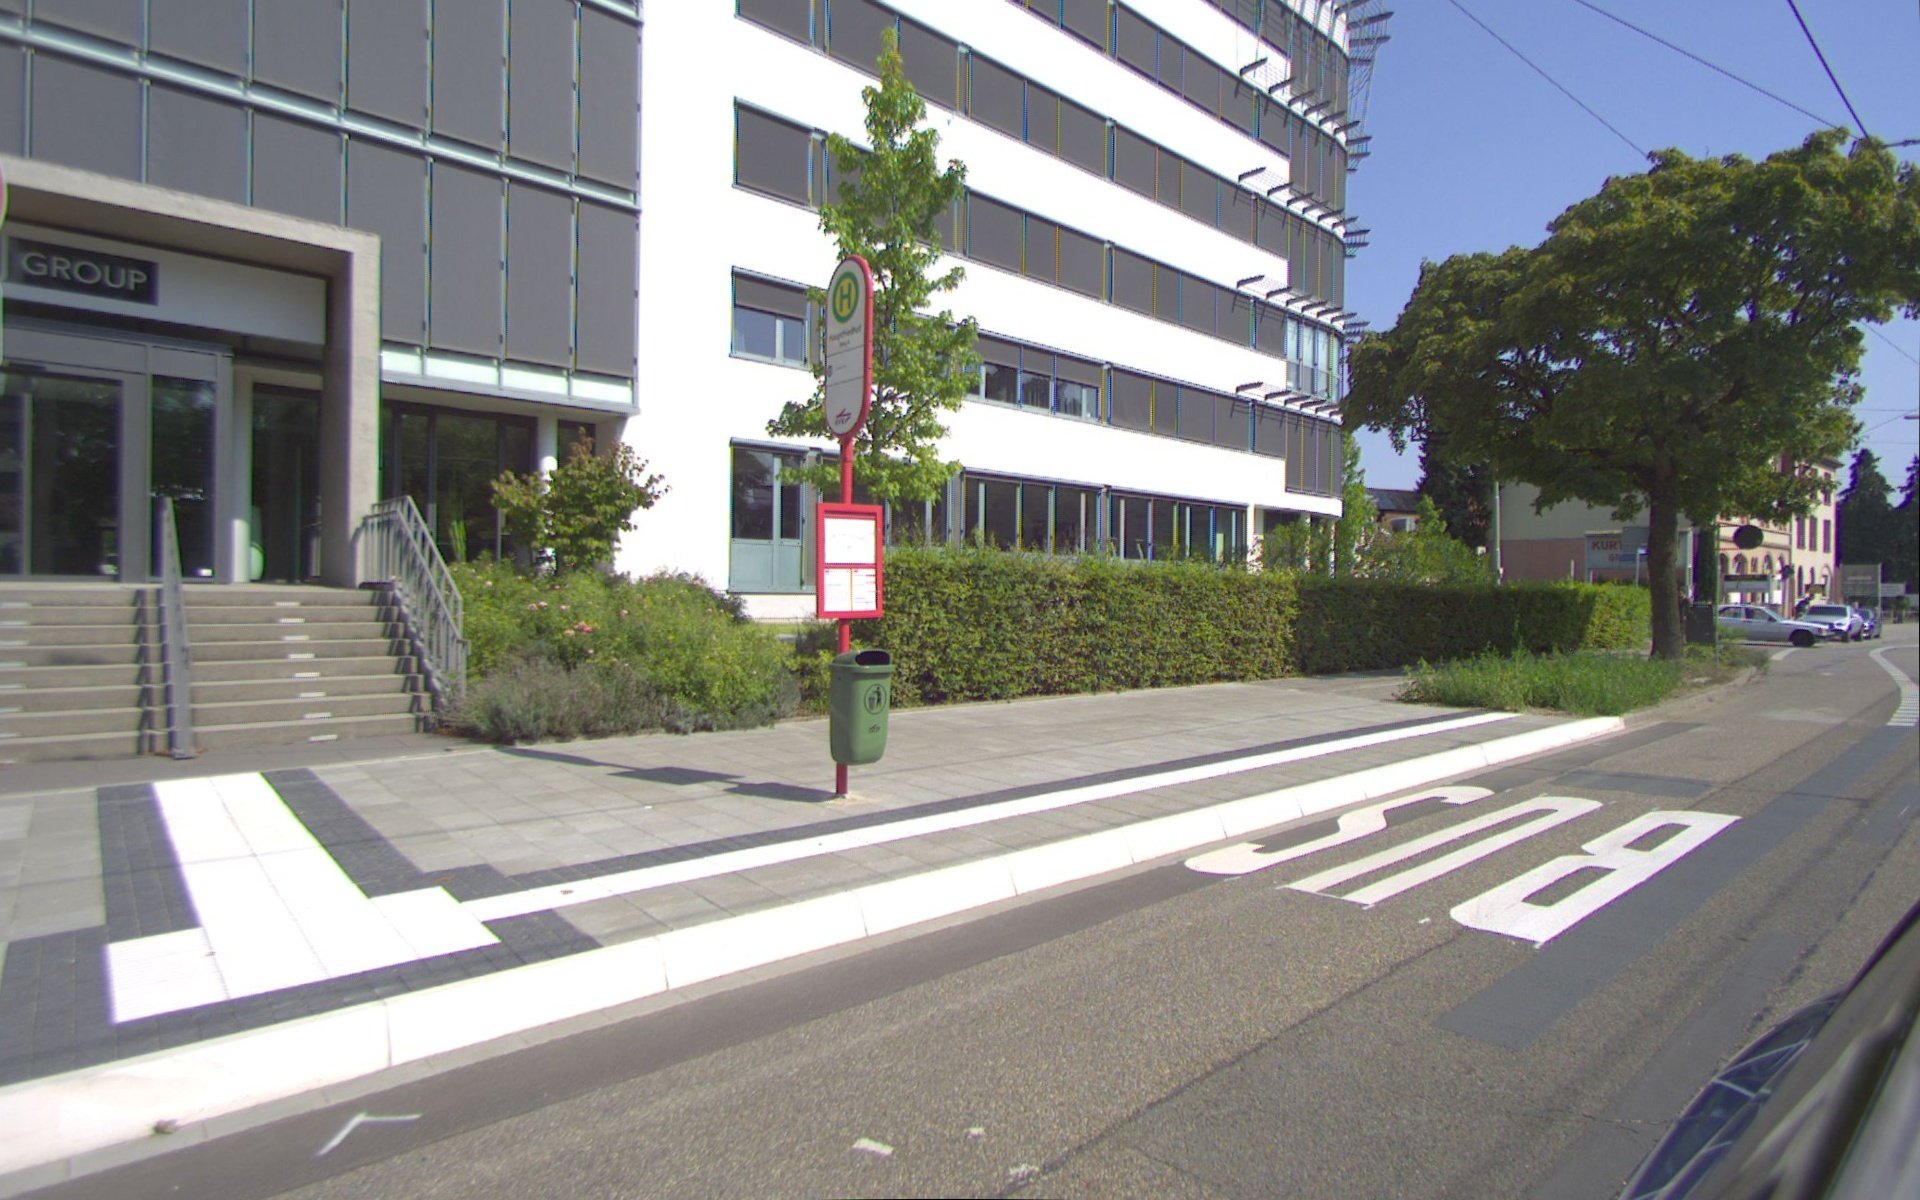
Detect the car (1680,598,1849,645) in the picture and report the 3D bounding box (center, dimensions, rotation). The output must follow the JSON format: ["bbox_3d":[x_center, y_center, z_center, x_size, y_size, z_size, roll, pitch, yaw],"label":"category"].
[{"bbox_3d":[28.297,0.696,35.682,4.539,1.534,1.930,0,0,44],"label":"car"}]

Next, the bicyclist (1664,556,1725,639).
[{"bbox_3d":[18.636,-0.068,25.677,1.248,2.039,0.784,0,0,-27],"label":"bicyclist"}]

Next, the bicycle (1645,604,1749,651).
[{"bbox_3d":[18.739,0.669,25.732,2.484,1.139,1.141,0,0,-27],"label":"bicycle"}]

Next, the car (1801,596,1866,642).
[{"bbox_3d":[38.667,0.786,44.757,1.955,1.946,4.482,0,0,44],"label":"car"}]
